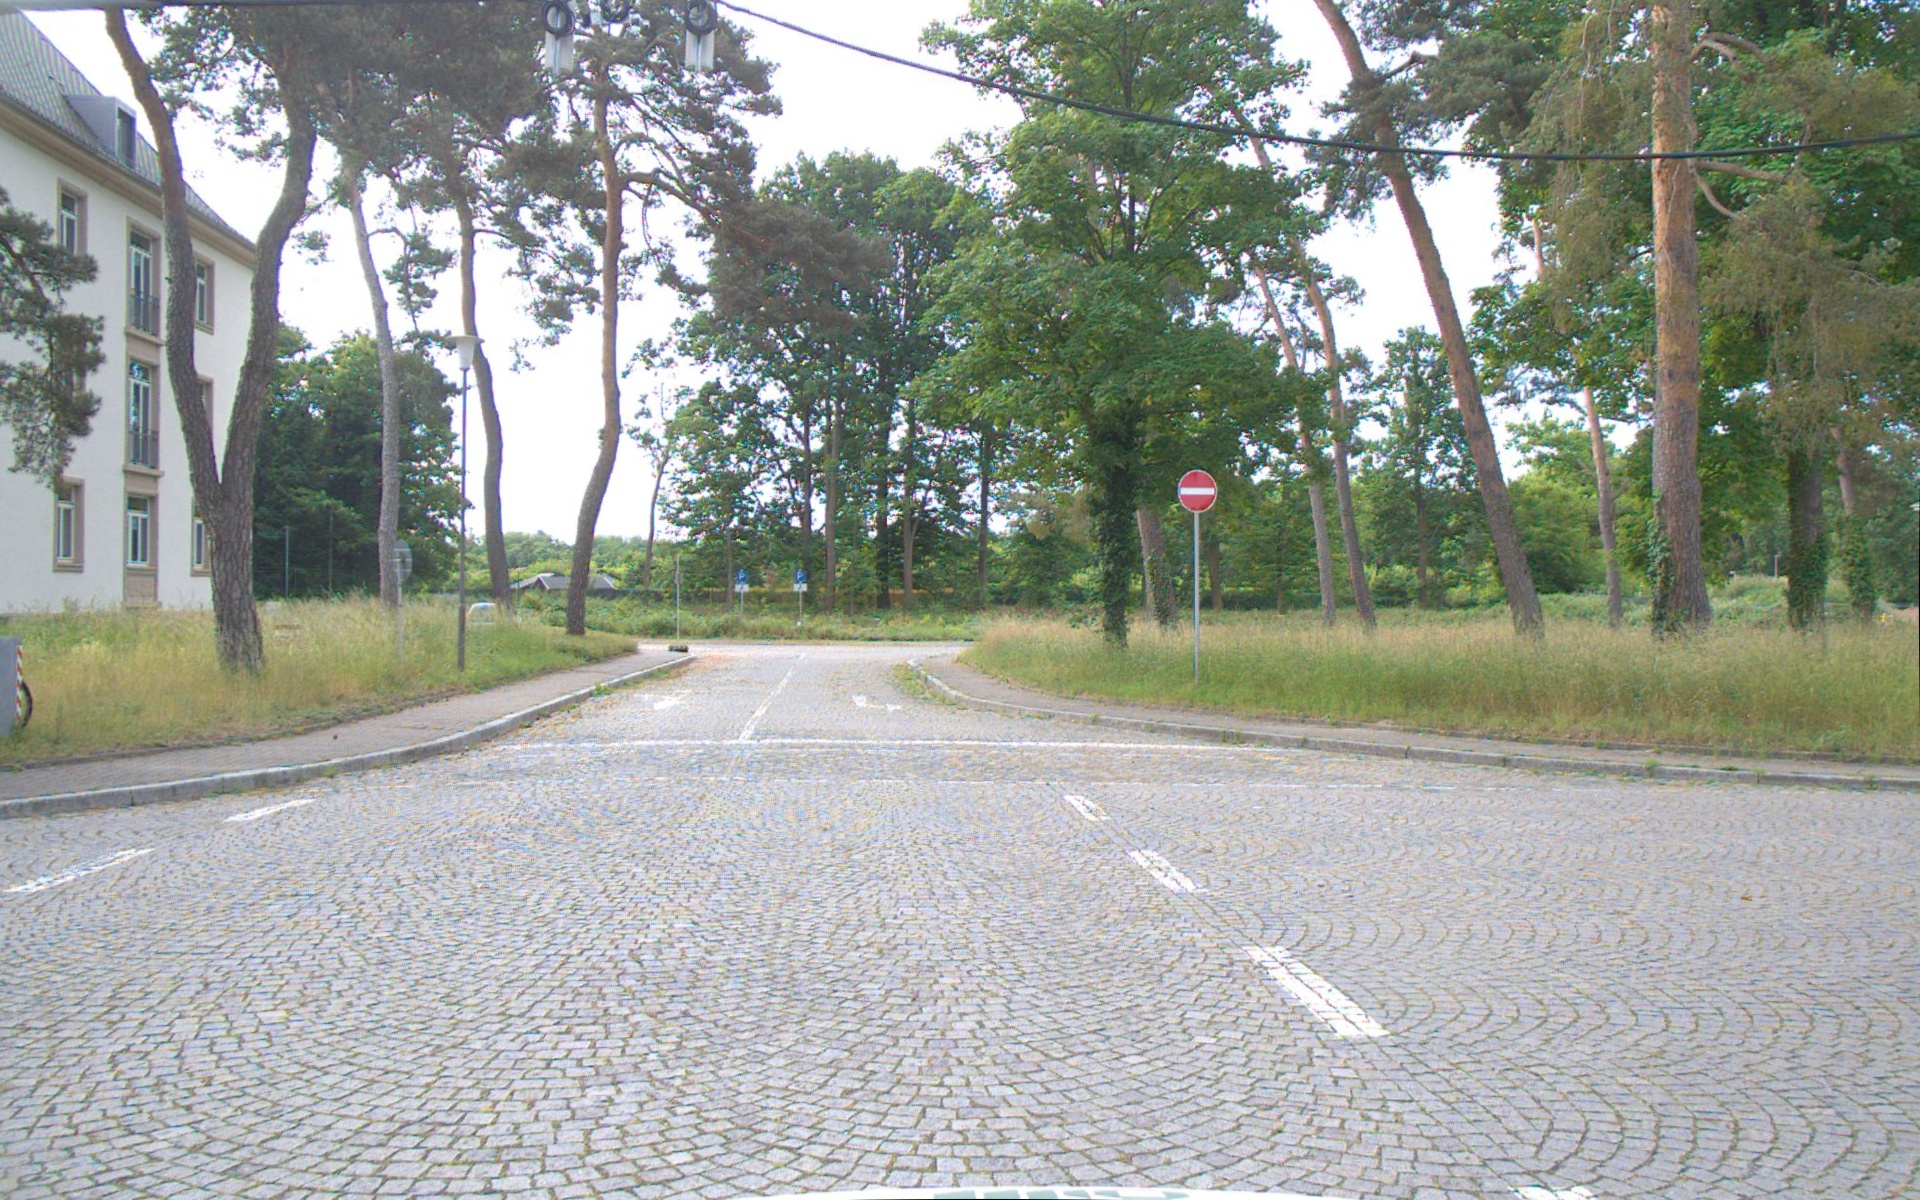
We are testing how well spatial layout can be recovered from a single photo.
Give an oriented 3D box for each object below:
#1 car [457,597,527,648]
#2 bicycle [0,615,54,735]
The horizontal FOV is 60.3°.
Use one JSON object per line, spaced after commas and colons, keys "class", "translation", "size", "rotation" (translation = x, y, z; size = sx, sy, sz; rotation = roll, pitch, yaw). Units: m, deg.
{"class": "car", "translation": [-18.291, 0.843, 64.839], "size": [1.956, 1.878, 3.994], "rotation": [2, 0, -7]}
{"class": "bicycle", "translation": [-9.293, 0.694, 15.371], "size": [1.436, 1.084, 0.515], "rotation": [0, 1, -6]}
